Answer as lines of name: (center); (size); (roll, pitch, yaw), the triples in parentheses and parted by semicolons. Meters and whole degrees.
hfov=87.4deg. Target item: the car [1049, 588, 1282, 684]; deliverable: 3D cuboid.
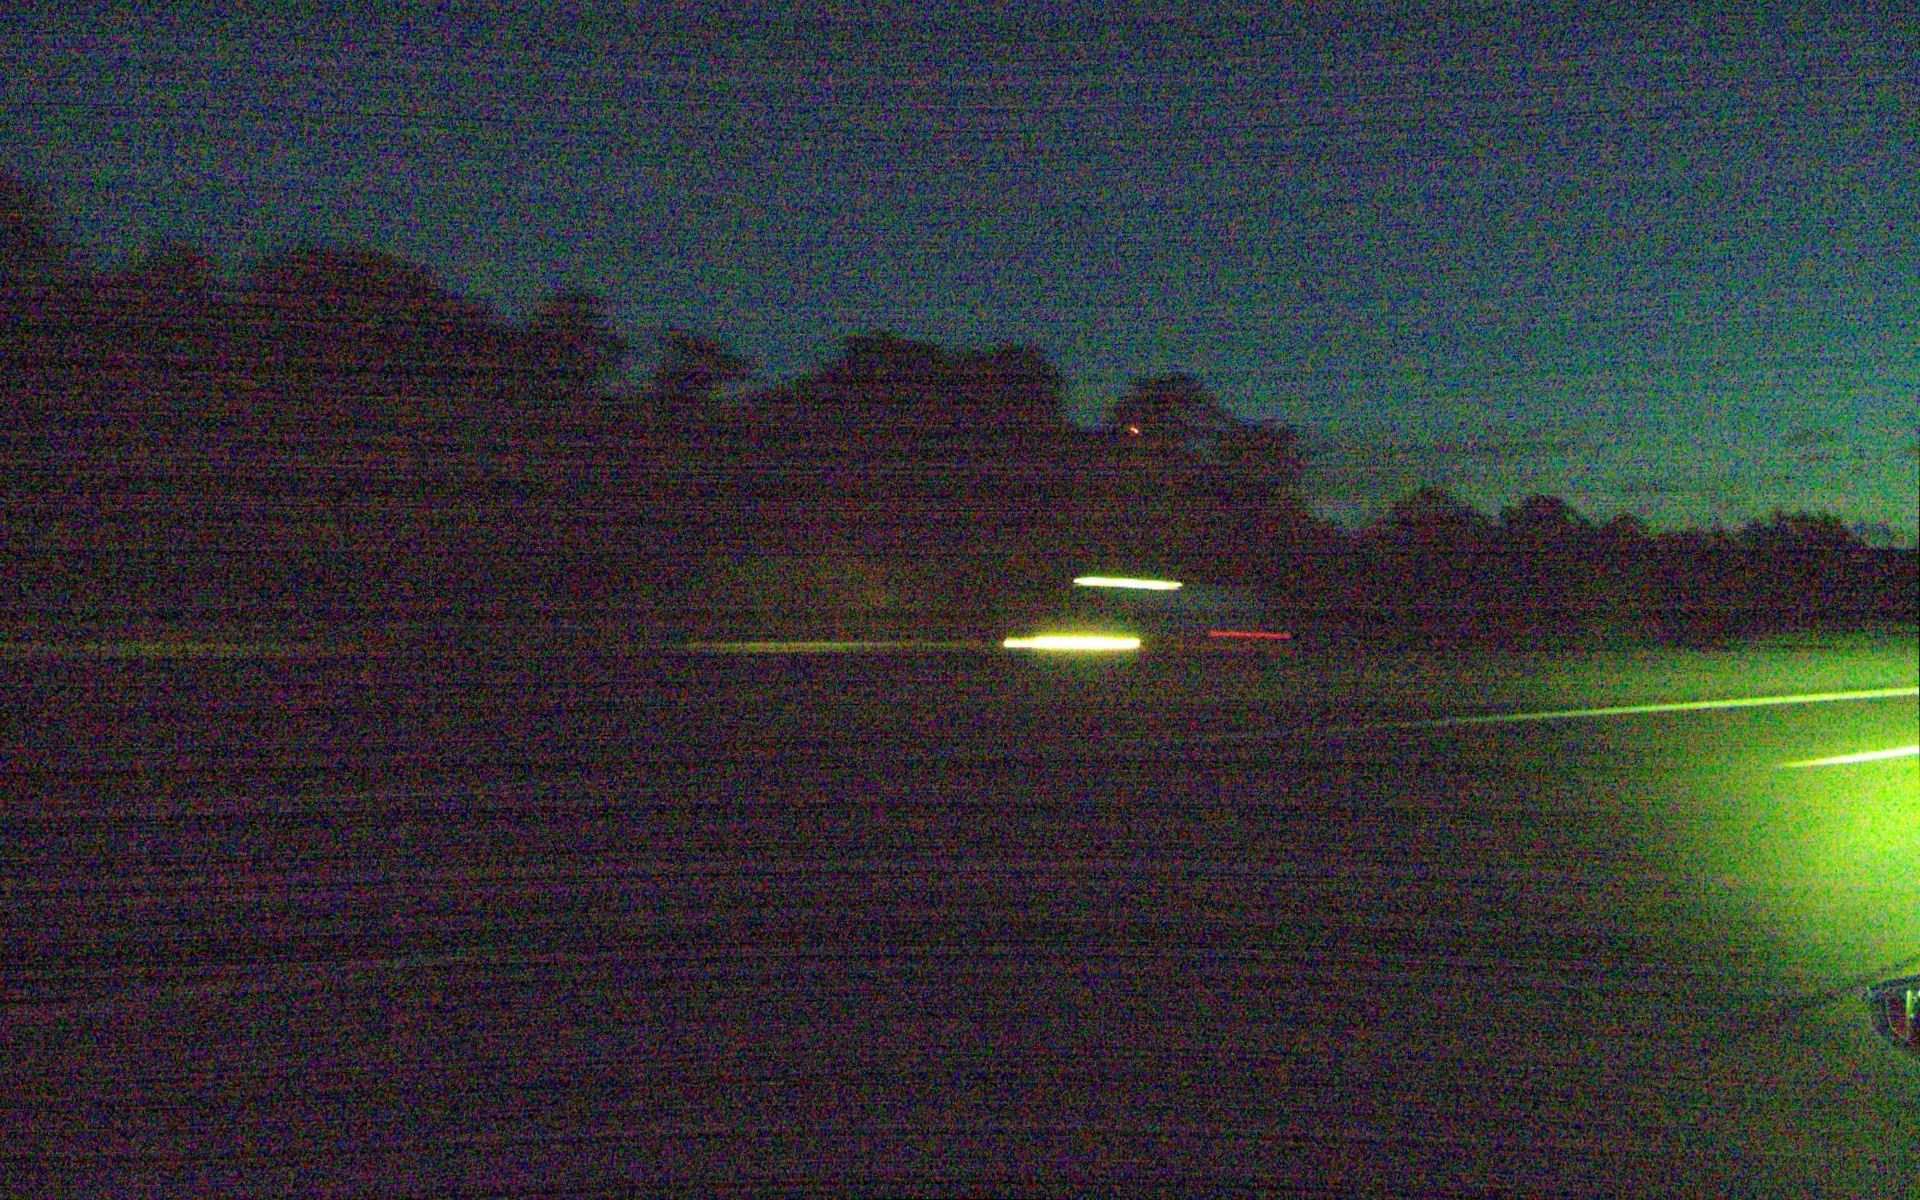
car: (5.957, 1.036, 28.762); (6.592, 2.485, 2.380); (2, 0, -30)
